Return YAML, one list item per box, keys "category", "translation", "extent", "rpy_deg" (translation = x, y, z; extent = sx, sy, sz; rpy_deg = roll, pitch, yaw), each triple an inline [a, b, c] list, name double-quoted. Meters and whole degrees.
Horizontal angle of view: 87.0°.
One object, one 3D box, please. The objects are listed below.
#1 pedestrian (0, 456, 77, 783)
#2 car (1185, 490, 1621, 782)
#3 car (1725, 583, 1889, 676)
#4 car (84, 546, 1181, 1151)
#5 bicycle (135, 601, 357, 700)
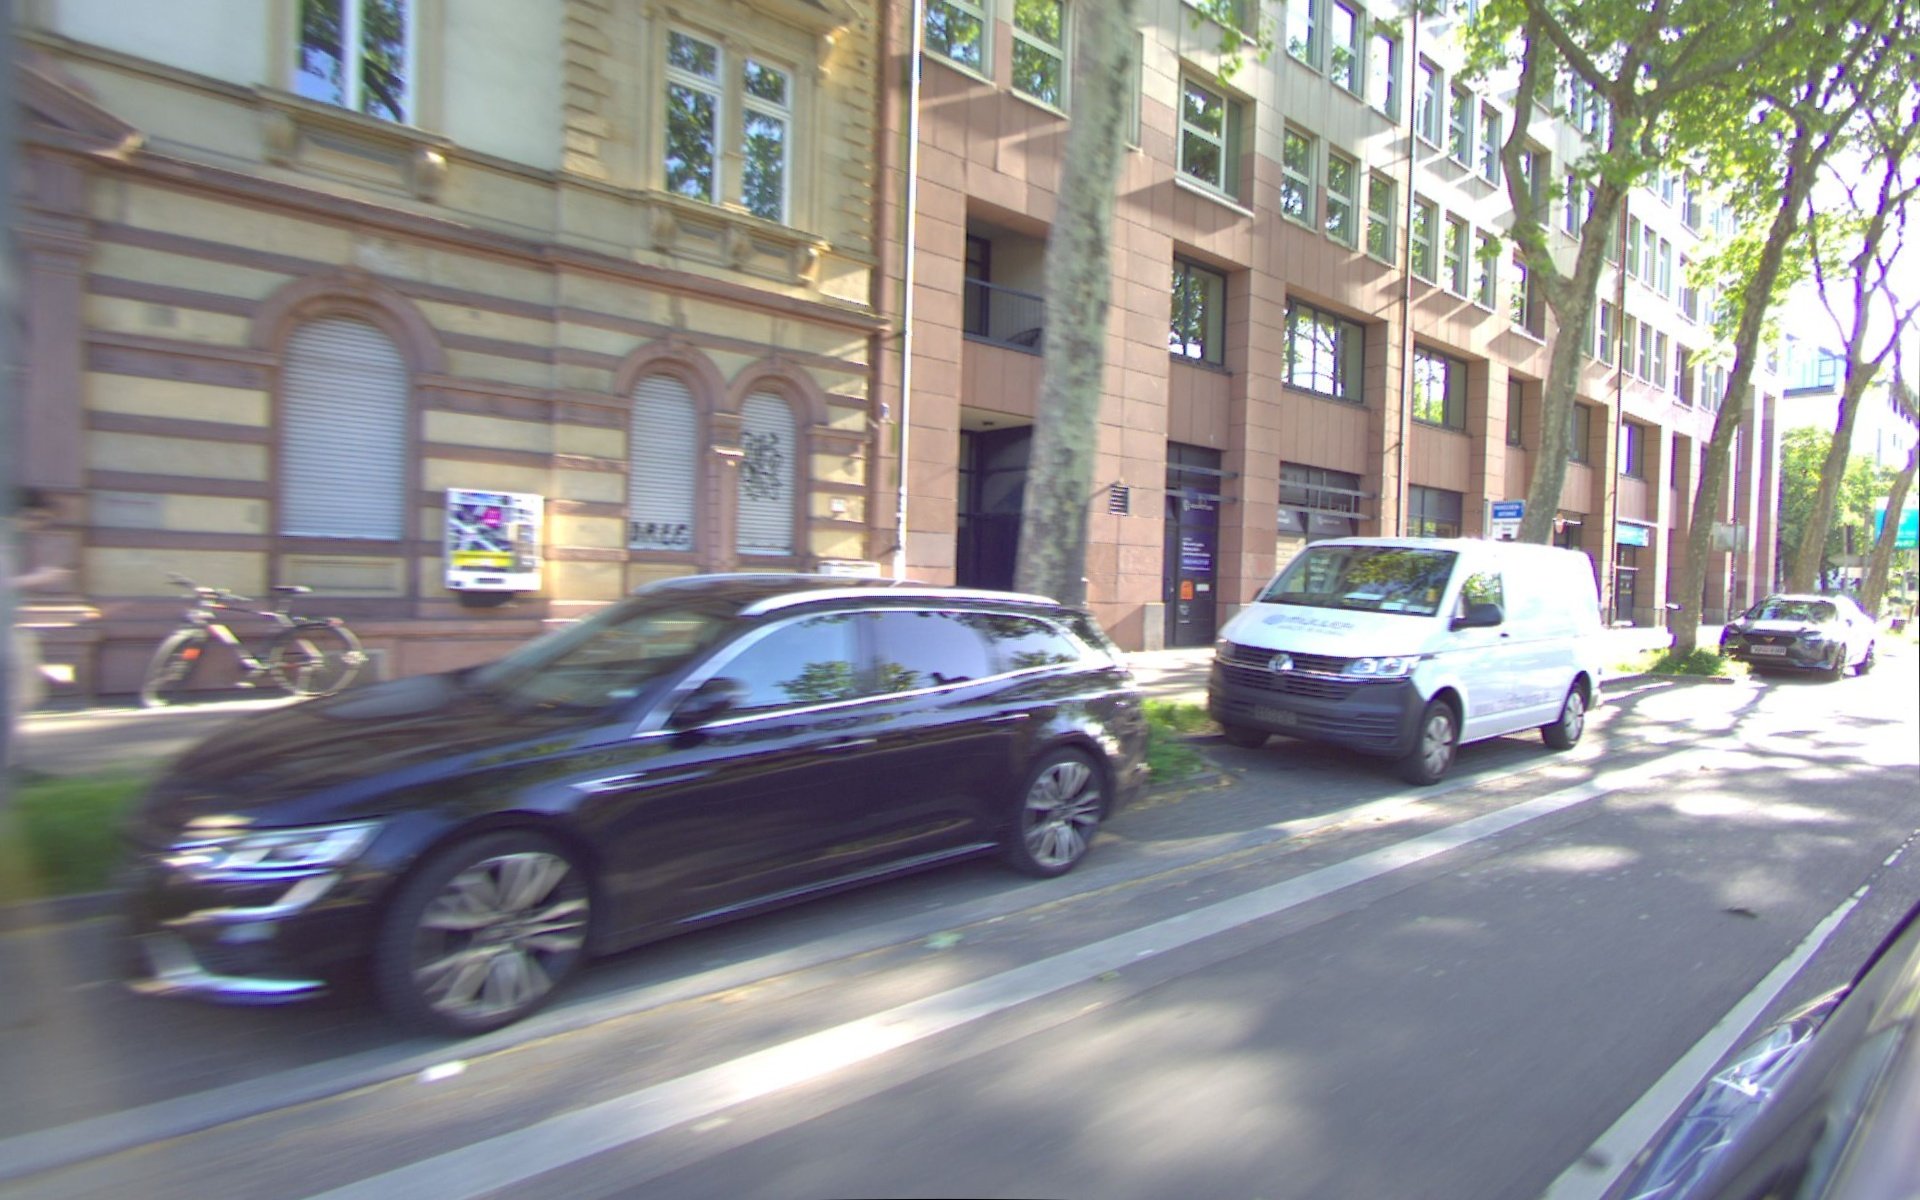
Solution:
- category: "pedestrian"
  translation: [-5.736, 0.109, 5.894]
  extent: [0.880, 1.850, 0.644]
  rpy_deg: [-1, 0, -41]
- category: "car"
  translation: [4.244, 0.217, 9.303]
  extent: [4.641, 2.039, 1.859]
  rpy_deg: [-1, 1, -41]
- category: "car"
  translation: [16.398, 0.481, 19.532]
  extent: [4.203, 1.590, 1.671]
  rpy_deg: [-1, 1, -39]
- category: "car"
  translation: [-1.087, 0.594, 4.800]
  extent: [4.627, 1.534, 1.821]
  rpy_deg: [-1, 1, -42]
- category: "bicycle"
  translation: [-6.556, 0.432, 9.344]
  extent: [1.634, 0.783, 0.550]
  rpy_deg: [-1, 4, -41]
